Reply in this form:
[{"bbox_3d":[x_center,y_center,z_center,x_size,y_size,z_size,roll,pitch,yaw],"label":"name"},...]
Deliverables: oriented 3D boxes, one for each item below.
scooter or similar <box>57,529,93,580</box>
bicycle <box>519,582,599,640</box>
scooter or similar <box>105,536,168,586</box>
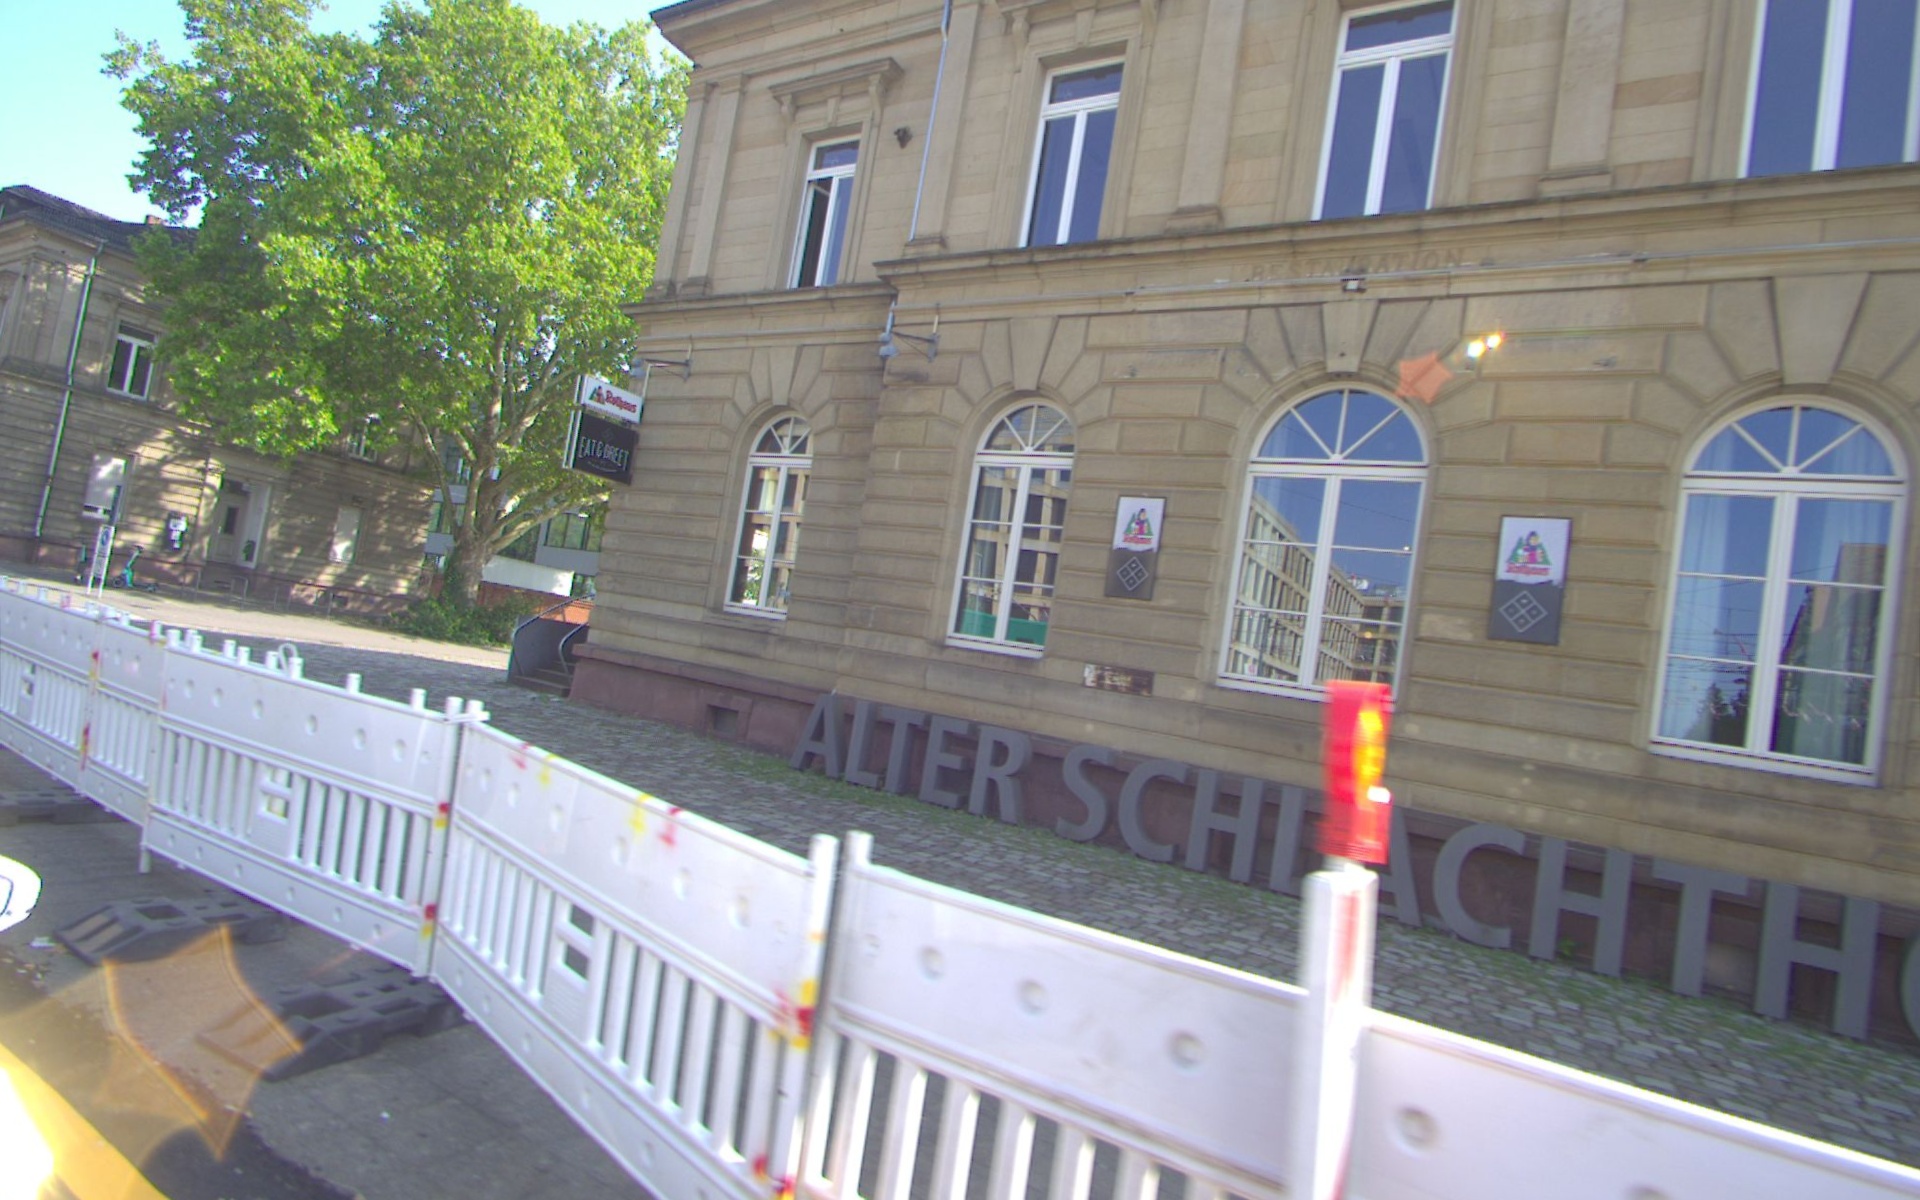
[{"bbox_3d":[-23.348,-1.213,26.556,0.419,1.223,1.243,11,-1,-35],"label":"scooter or similar"},{"bbox_3d":[-15.648,0.413,39.215,3.230,1.821,0.849,7,-3,31],"label":"bicycle"},{"bbox_3d":[-22.980,-1.063,28.083,0.415,1.223,1.257,10,-1,7],"label":"scooter or similar"}]
